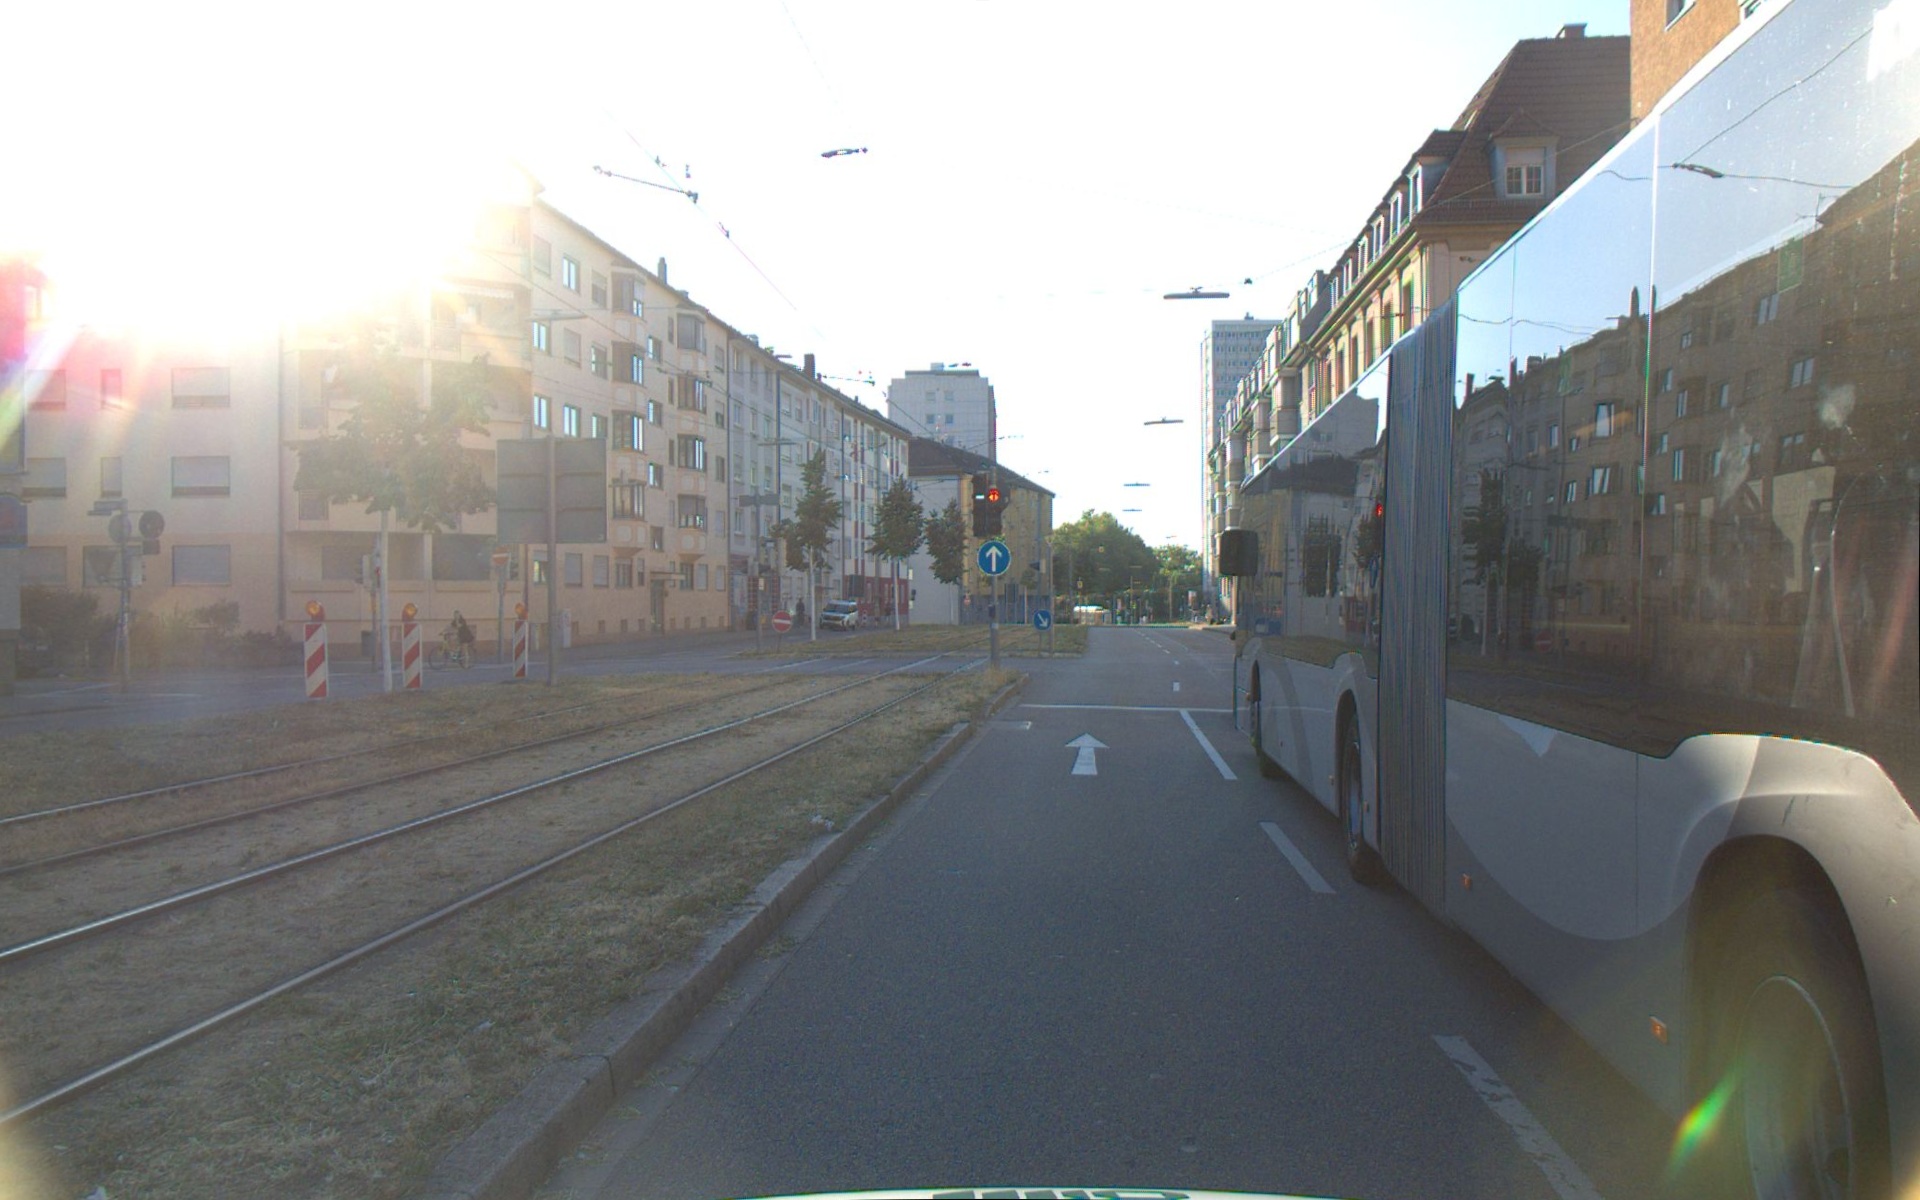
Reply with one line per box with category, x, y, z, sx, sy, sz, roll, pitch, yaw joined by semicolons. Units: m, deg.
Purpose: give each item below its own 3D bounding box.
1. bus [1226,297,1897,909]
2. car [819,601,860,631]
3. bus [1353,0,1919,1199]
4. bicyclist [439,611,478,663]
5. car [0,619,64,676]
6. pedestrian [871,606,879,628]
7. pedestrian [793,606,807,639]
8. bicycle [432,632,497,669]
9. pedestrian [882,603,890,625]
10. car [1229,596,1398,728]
bus;3.813;0.012;13.082;2.681;3.109;9.136;1;0;5
car;-7.594;1.014;104.172;1.773;1.829;4.248;1;-1;6
bus;3.039;-0.021;4.165;2.681;3.109;8.858;1;0;5
bicyclist;-14.549;1.066;48.015;0.518;1.472;0.962;-1;-1;35
car;-26.469;1.290;44.339;3.881;1.465;1.789;-1;-1;-5
pedestrian;-6.352;1.275;123.726;0.485;1.687;0.409;-1;-1;5
pedestrian;-9.899;1.397;102.444;0.770;2.049;0.891;0;-1;2
bicycle;-14.423;1.462;48.176;0.518;1.001;1.876;-1;-1;35
pedestrian;-5.557;1.054;123.859;0.485;1.687;0.409;-1;-1;5
car;4.658;0.770;22.311;1.732;1.603;4.088;-1;0;5
